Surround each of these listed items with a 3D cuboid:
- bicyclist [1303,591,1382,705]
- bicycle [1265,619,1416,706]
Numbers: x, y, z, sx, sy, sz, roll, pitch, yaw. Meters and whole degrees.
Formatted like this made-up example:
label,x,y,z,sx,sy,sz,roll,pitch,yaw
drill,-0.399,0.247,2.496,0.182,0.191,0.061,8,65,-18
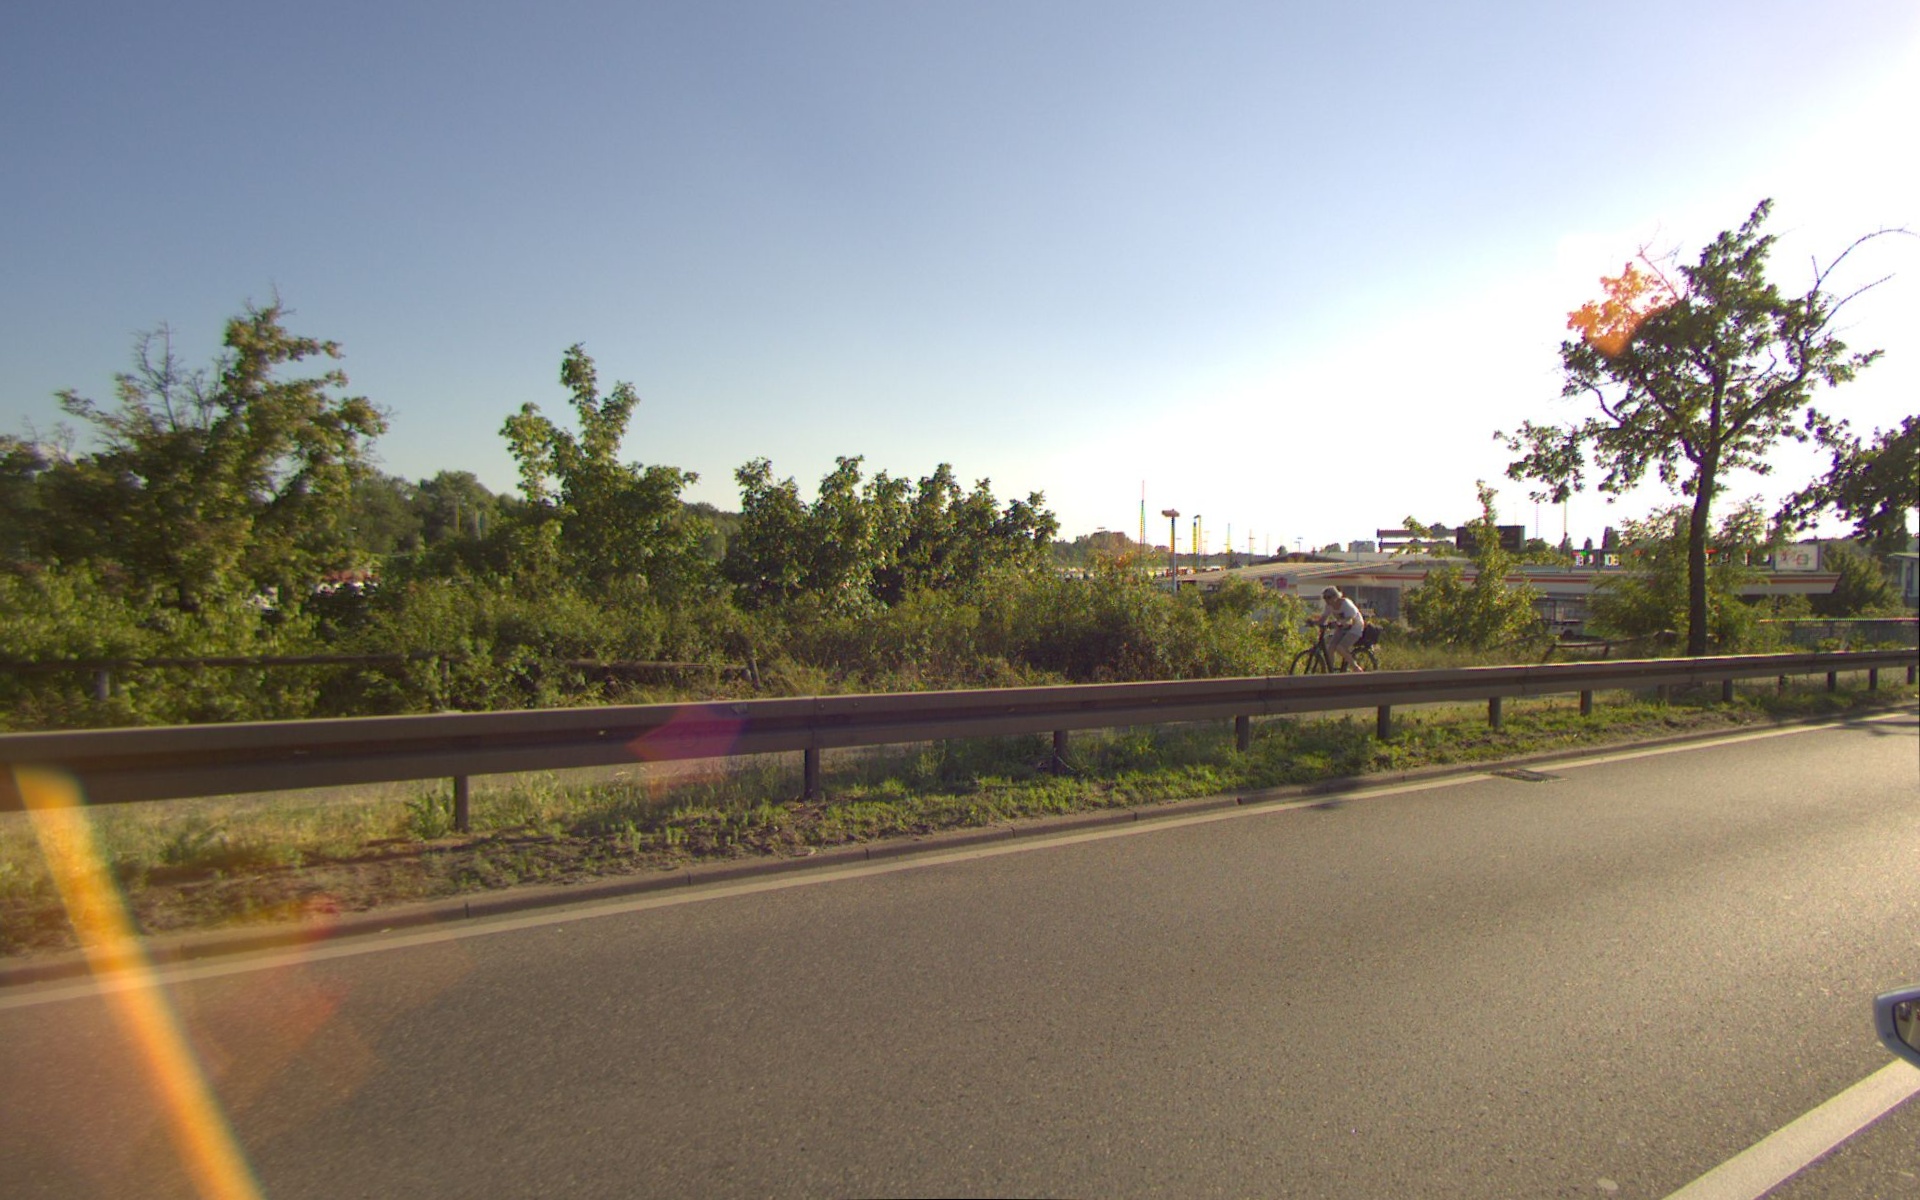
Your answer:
label,x,y,z,sx,sy,sz,roll,pitch,yaw
bicyclist,5.142,0.635,13.519,0.818,1.478,0.596,1,0,-30
bicycle,5.139,0.820,13.503,2.286,1.091,0.579,2,0,-30
